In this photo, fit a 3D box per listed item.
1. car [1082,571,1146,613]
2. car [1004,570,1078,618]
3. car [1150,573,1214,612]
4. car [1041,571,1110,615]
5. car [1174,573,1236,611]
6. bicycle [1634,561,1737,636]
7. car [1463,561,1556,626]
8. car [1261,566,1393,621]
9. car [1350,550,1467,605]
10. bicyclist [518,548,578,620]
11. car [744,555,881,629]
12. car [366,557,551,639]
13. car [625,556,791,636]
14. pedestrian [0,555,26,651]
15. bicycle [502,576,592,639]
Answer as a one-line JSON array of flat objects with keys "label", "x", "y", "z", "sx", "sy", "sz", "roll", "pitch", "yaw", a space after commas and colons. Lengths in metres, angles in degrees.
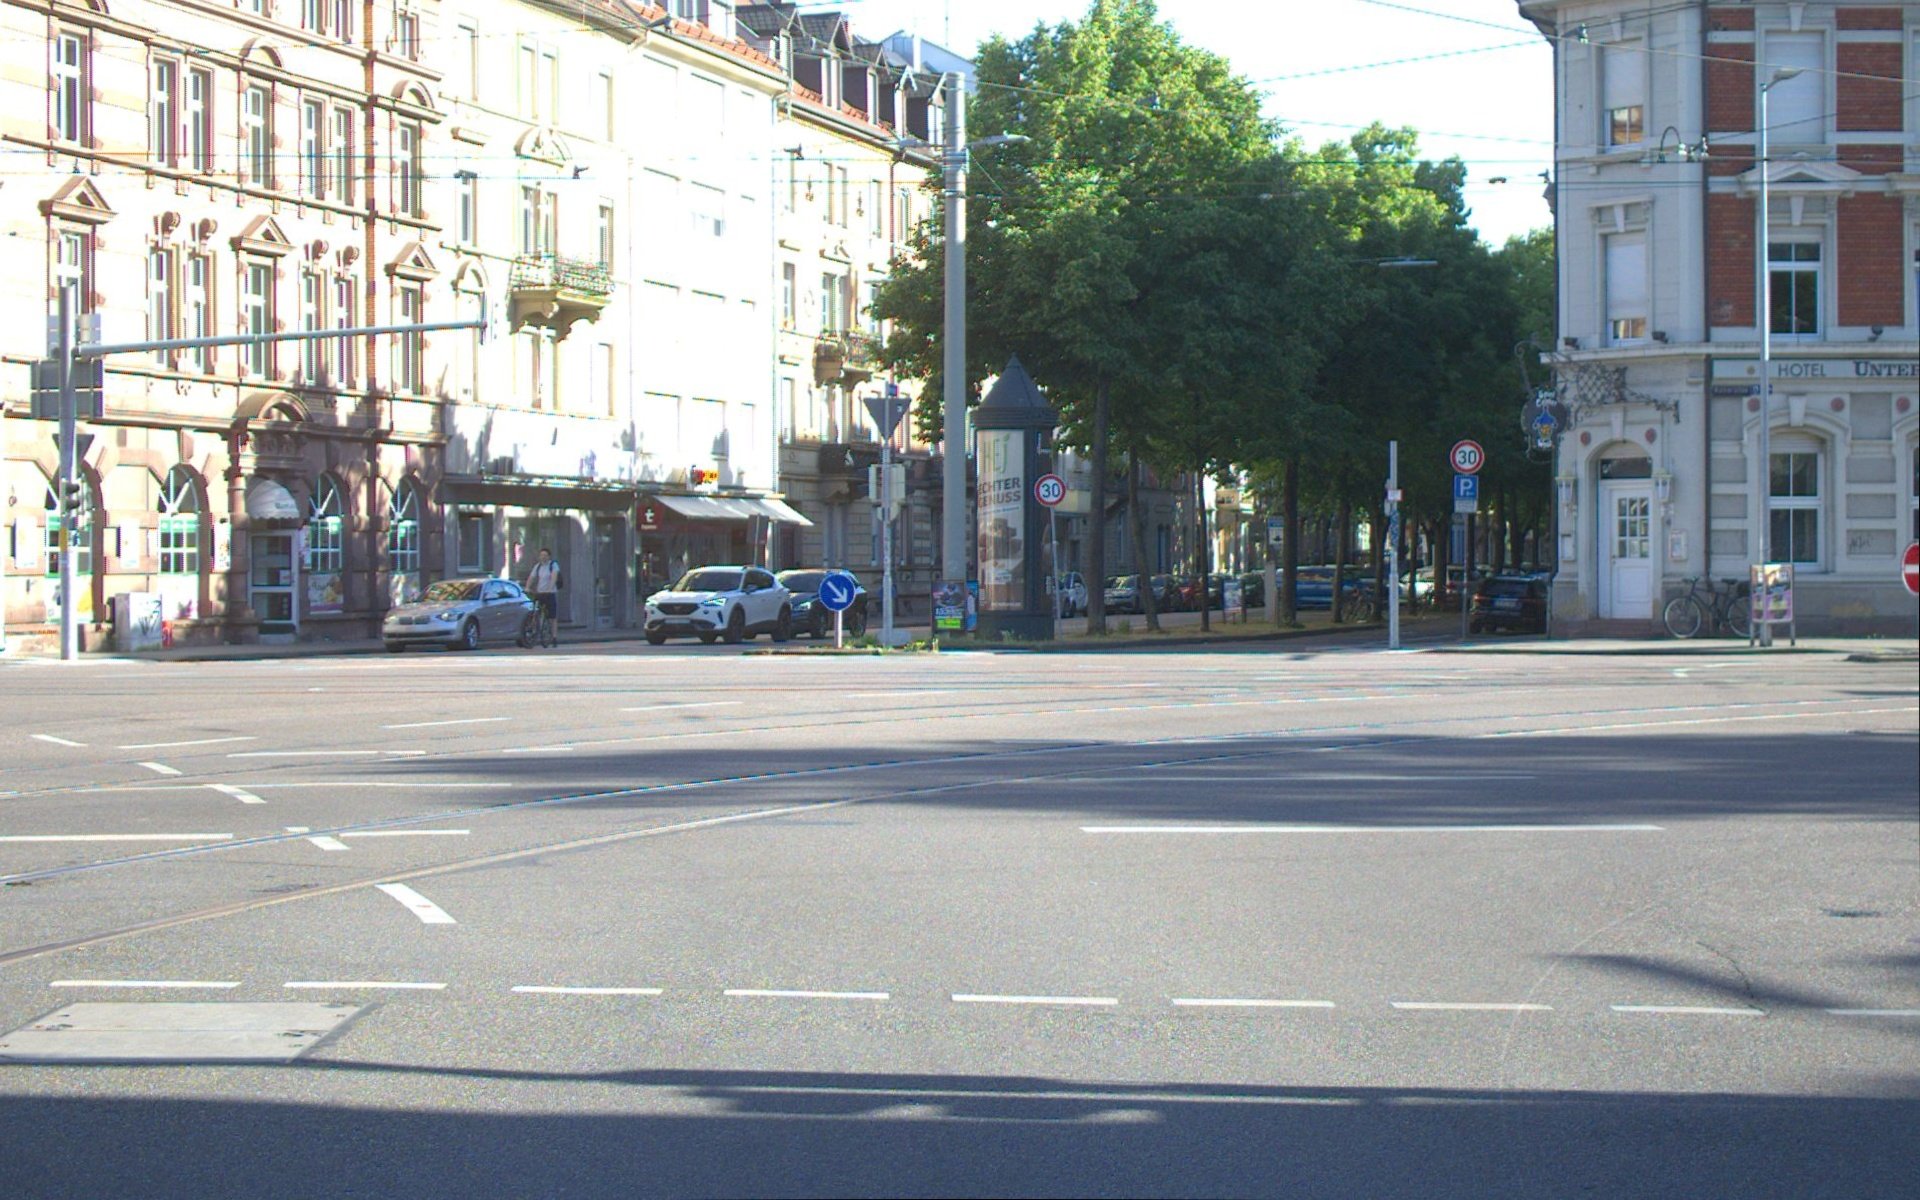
[{"label": "car", "x": 5.512, "y": -0.293, "z": 122.784, "sx": 1.741, "sy": 1.393, "sz": 4.122, "roll": 3, "pitch": 1, "yaw": 9}, {"label": "car", "x": 2.601, "y": -0.208, "z": 110.002, "sx": 1.741, "sy": 1.393, "sz": 4.122, "roll": 3, "pitch": 1, "yaw": 9}, {"label": "car", "x": 8.513, "y": -0.302, "z": 131.608, "sx": 1.742, "sy": 1.393, "sz": 4.121, "roll": 3, "pitch": 1, "yaw": 13}, {"label": "car", "x": 3.925, "y": -0.246, "z": 115.806, "sx": 1.741, "sy": 1.393, "sz": 4.122, "roll": 3, "pitch": 1, "yaw": 9}, {"label": "car", "x": 9.732, "y": -0.337, "z": 136.386, "sx": 1.742, "sy": 1.393, "sz": 4.121, "roll": 3, "pitch": 1, "yaw": 13}, {"label": "bicycle", "x": 12.063, "y": -0.031, "z": 57.134, "sx": 1.639, "sy": 1.218, "sz": 0.606, "roll": 0, "pitch": 1, "yaw": 16}, {"label": "car", "x": 13.170, "y": -0.150, "z": 82.286, "sx": 1.652, "sy": 1.519, "sz": 3.750, "roll": 0, "pitch": 0, "yaw": 17}, {"label": "car", "x": 12.296, "y": -0.217, "z": 115.226, "sx": 4.113, "sy": 1.640, "sz": 1.745, "roll": 3, "pitch": 1, "yaw": 15}, {"label": "car", "x": 17.414, "y": -0.866, "z": 133.424, "sx": 4.115, "sy": 1.912, "sz": 1.744, "roll": 3, "pitch": 1, "yaw": 21}, {"label": "bicyclist", "x": -7.852, "y": -0.310, "z": 65.592, "sx": 0.794, "sy": 1.370, "sz": 1.107, "roll": 0, "pitch": 1, "yaw": 14}, {"label": "car", "x": -3.127, "y": -0.185, "z": 73.534, "sx": 1.994, "sy": 1.508, "sz": 3.998, "roll": 0, "pitch": 1, "yaw": 12}, {"label": "car", "x": -9.775, "y": -0.067, "z": 67.381, "sx": 2.098, "sy": 1.540, "sz": 4.361, "roll": 0, "pitch": 1, "yaw": 14}, {"label": "car", "x": -4.877, "y": -0.099, "z": 67.167, "sx": 2.098, "sy": 1.494, "sz": 3.998, "roll": 0, "pitch": 1, "yaw": 14}, {"label": "pedestrian", "x": -16.404, "y": 0.050, "z": 57.547, "sx": 1.041, "sy": 1.585, "sz": 1.067, "roll": 0, "pitch": 1, "yaw": 28}, {"label": "bicycle", "x": -7.865, "y": 0.131, "z": 65.630, "sx": 0.751, "sy": 1.131, "sz": 2.808, "roll": 0, "pitch": 1, "yaw": 14}]
